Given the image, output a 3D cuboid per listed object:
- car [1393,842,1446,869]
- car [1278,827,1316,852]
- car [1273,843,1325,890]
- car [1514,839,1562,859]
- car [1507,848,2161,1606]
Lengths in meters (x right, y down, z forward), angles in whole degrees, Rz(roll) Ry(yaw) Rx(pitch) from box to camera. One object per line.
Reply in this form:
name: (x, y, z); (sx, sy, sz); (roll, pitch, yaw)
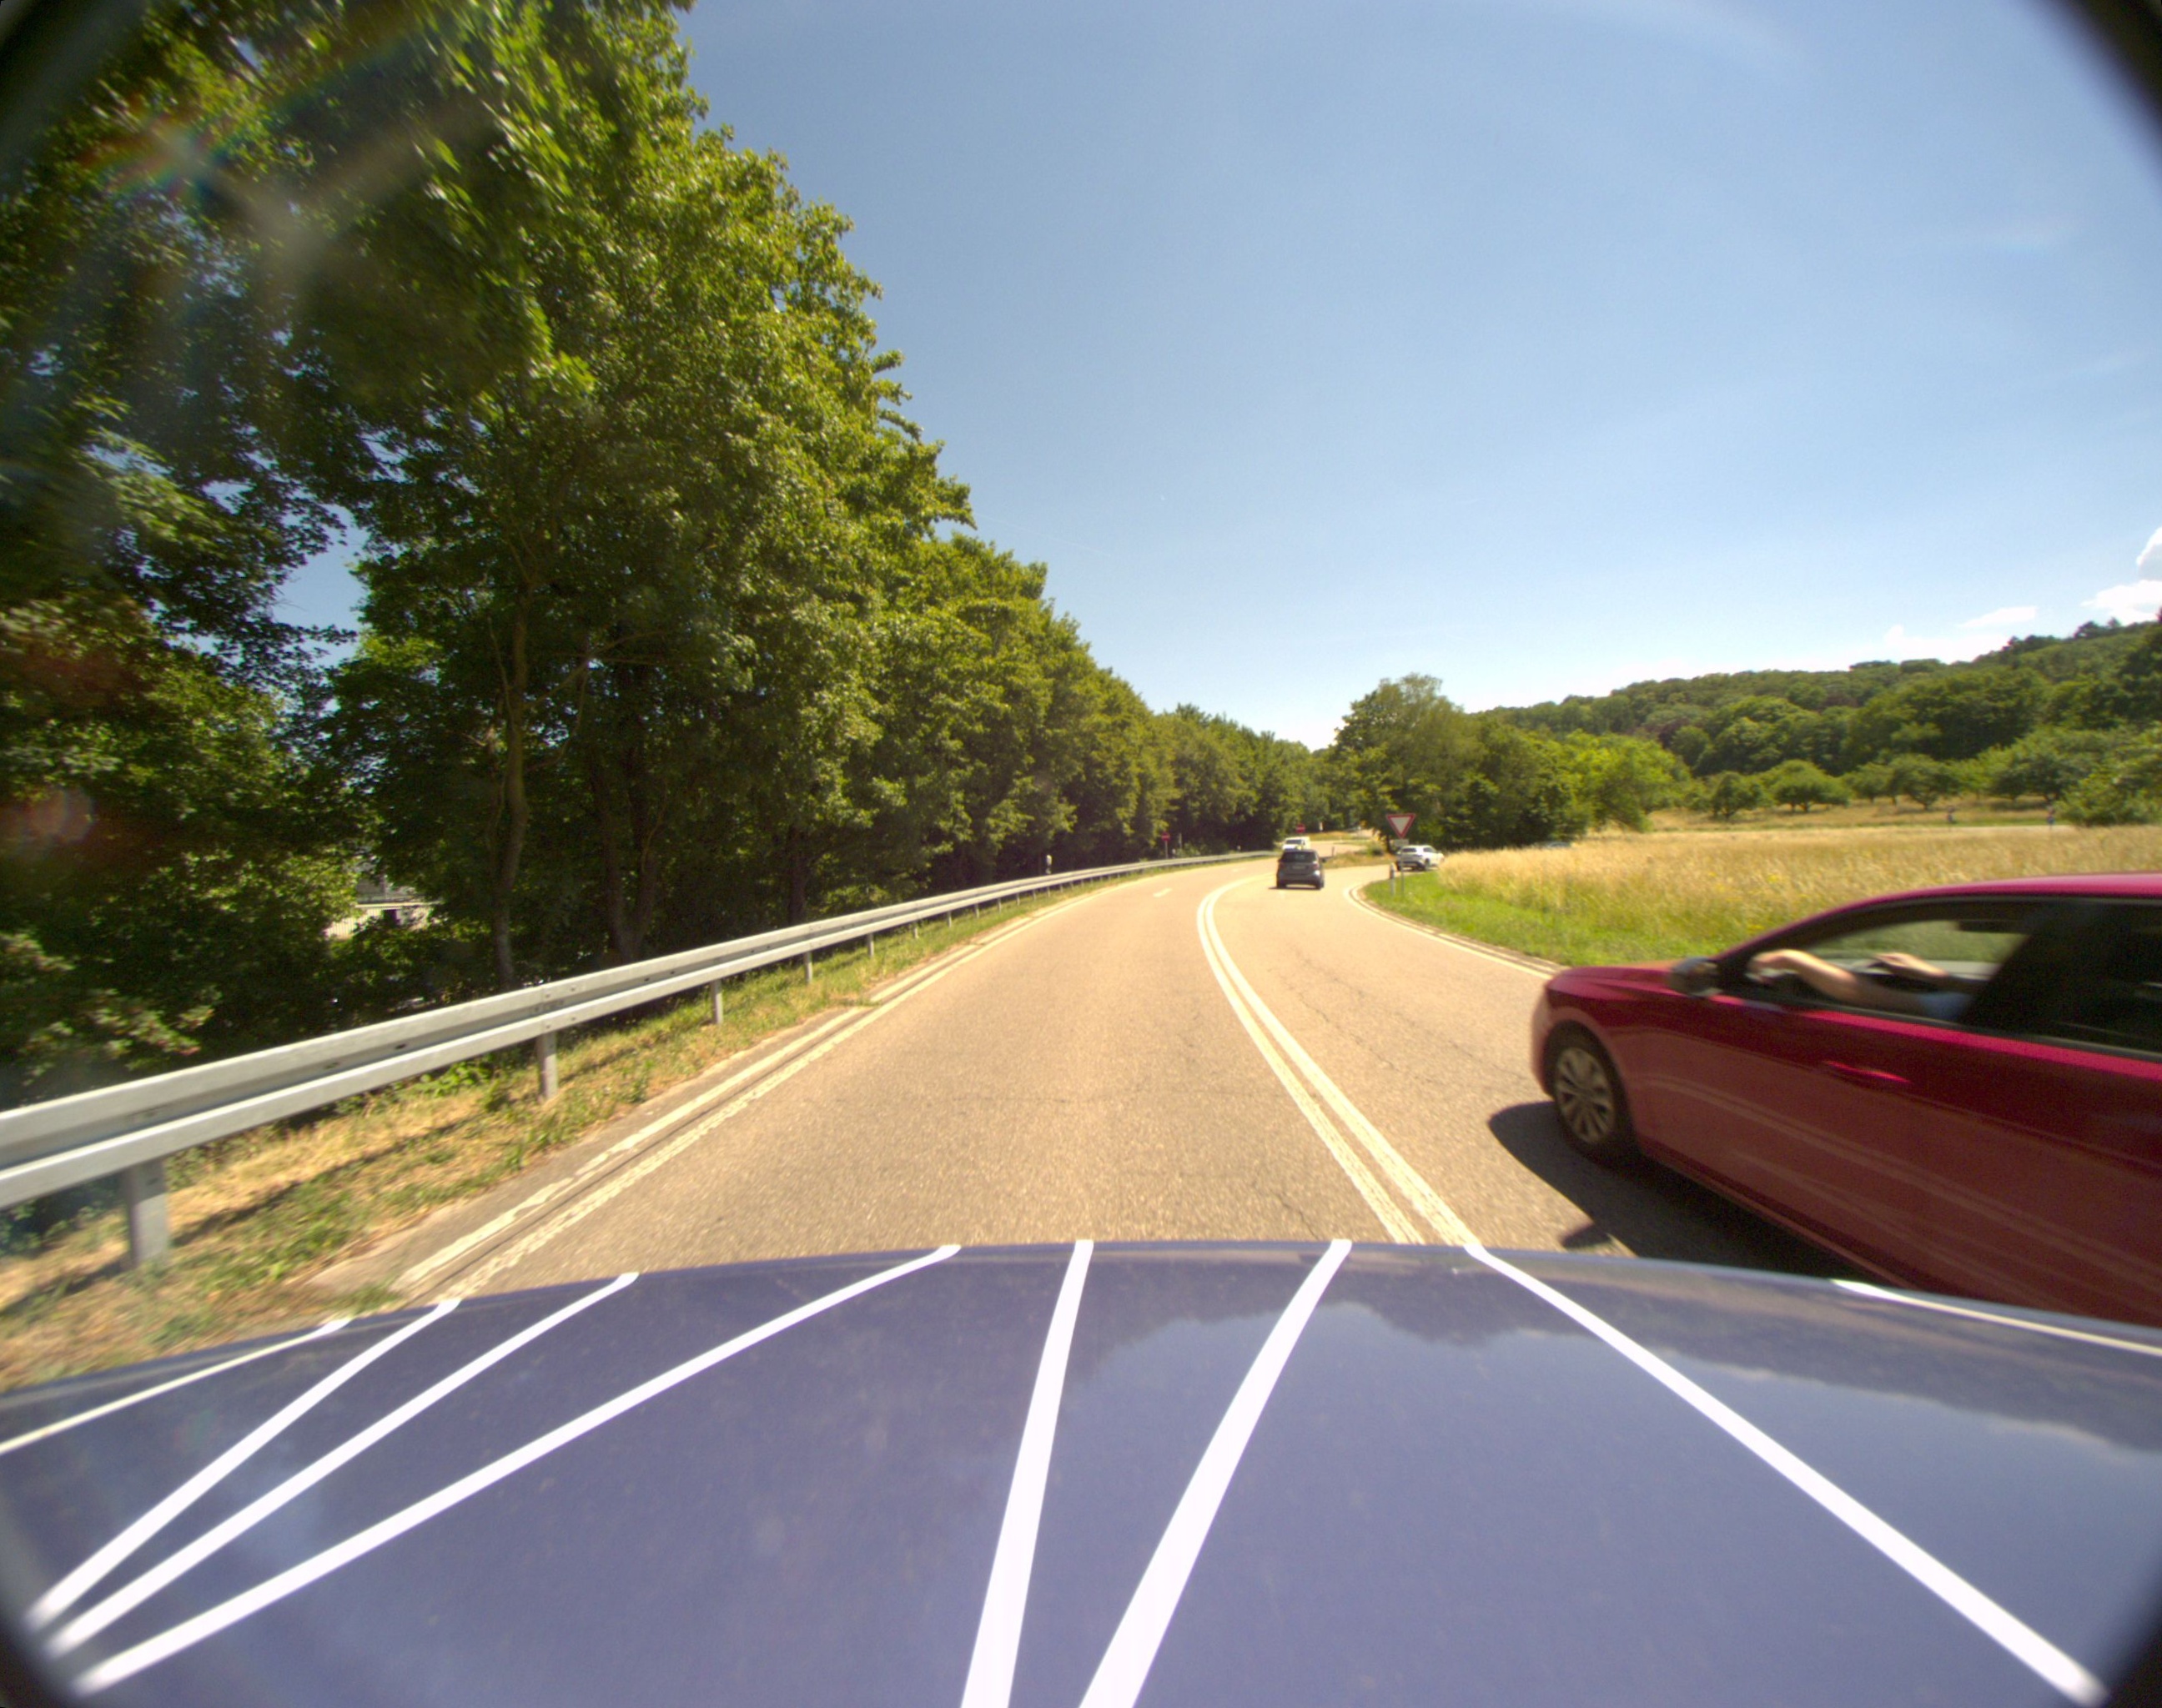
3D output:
car: (21.328, 0.049, 47.788); (1.822, 1.582, 4.226); (4, 3, 40)
car: (21.474, -1.459, 75.494); (2.221, 2.021, 5.435); (-5, 1, 30)
car: (8.678, 0.454, 30.276); (1.737, 1.498, 4.076); (-6, 0, 16)
car: (35.861, -0.409, 59.596); (4.667, 1.498, 1.803); (-1, 2, -41)
car: (3.118, 0.798, 1.805); (1.826, 1.450, 4.399); (1, 2, 2)
